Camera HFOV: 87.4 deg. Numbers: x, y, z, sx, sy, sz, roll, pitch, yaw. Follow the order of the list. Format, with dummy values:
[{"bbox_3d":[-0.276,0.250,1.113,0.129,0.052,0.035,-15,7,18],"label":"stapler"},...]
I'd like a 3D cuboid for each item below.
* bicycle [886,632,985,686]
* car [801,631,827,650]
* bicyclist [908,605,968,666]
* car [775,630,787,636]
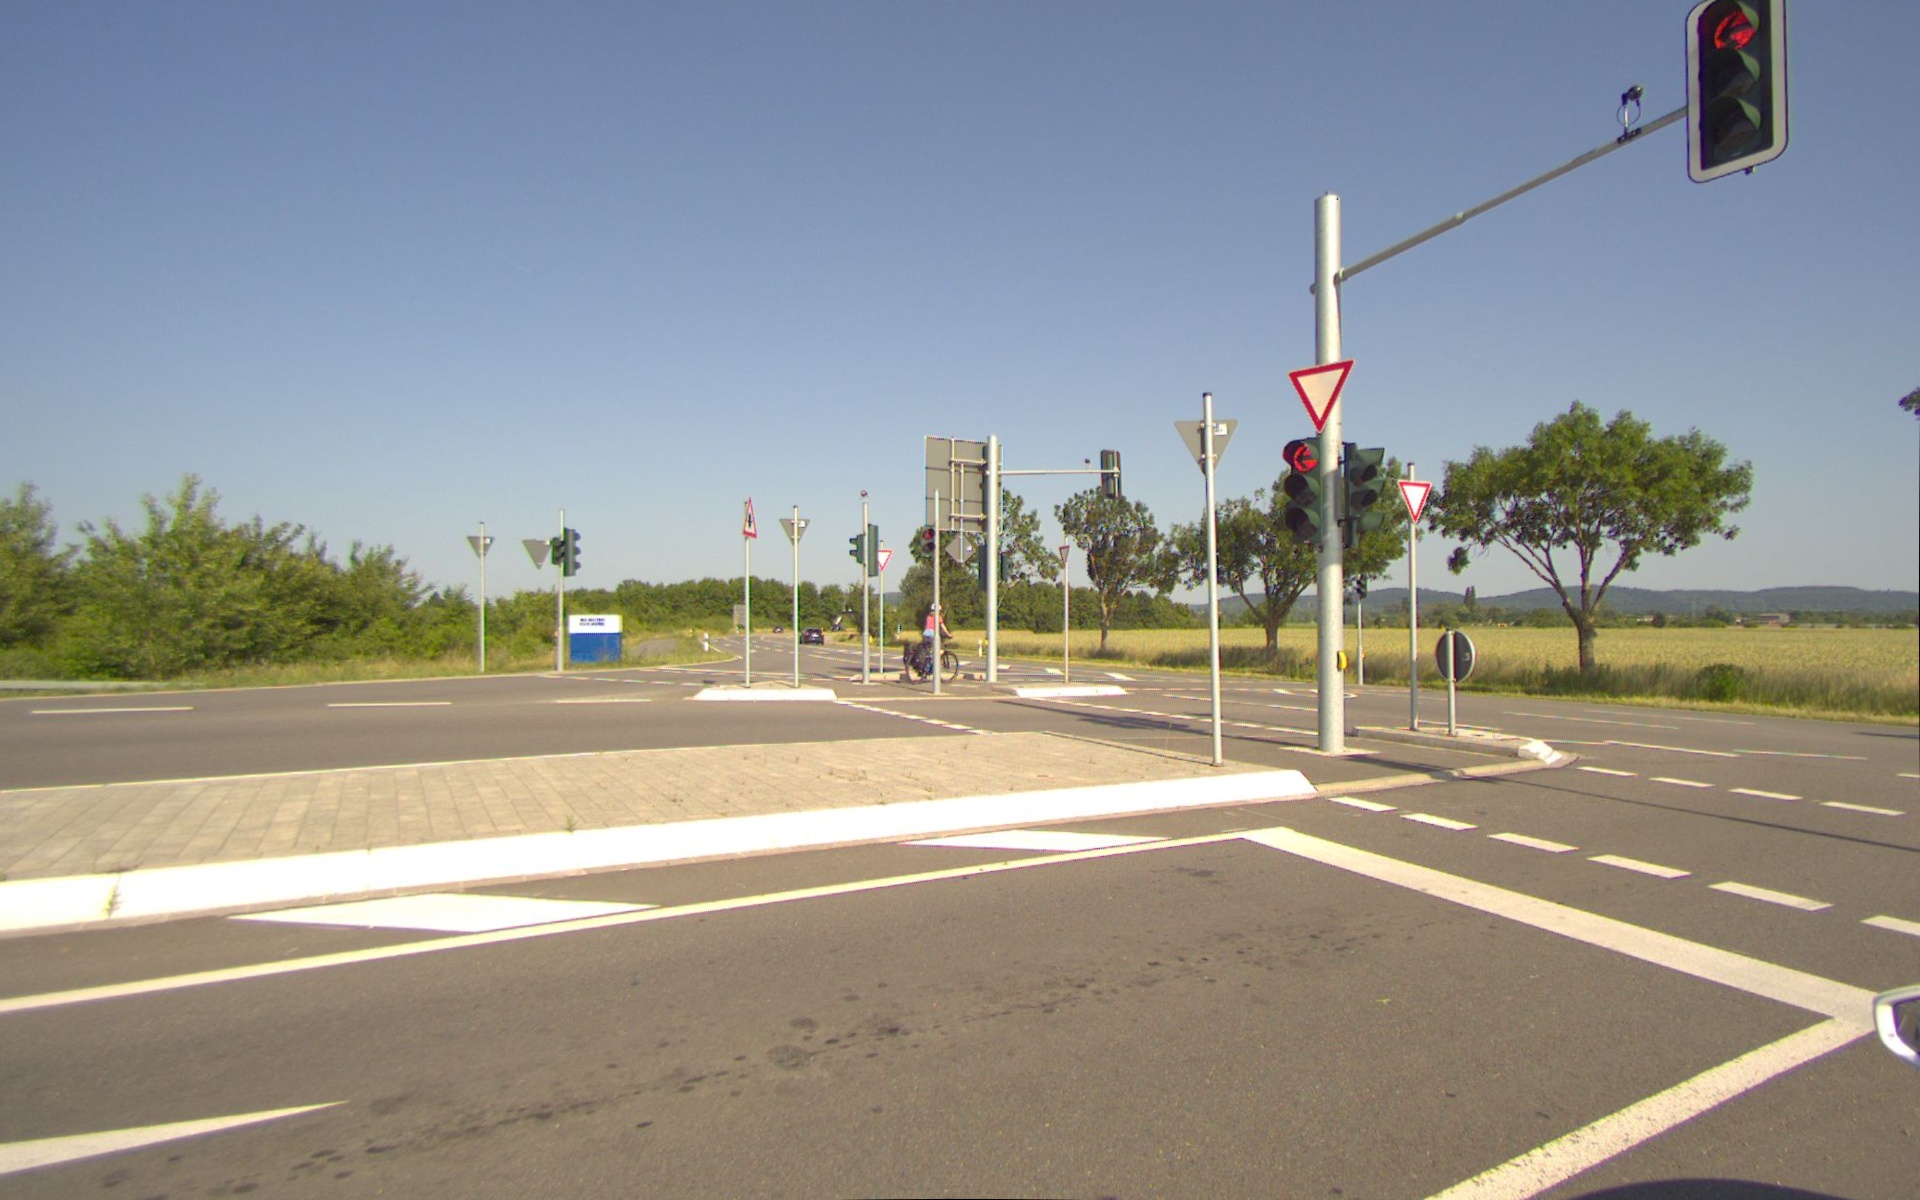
[{"bbox_3d":[-0.541,1.342,23.120,1.059,1.164,2.139,1,-2,43],"label":"bicycle"},{"bbox_3d":[-12.832,3.528,88.282,1.701,1.544,3.457,2,-1,-17],"label":"car"},{"bbox_3d":[-0.494,0.822,23.187,0.847,1.369,1.068,1,-1,44],"label":"bicyclist"},{"bbox_3d":[-33.247,6.141,186.550,1.706,1.127,4.000,2,-2,-1],"label":"car"}]
